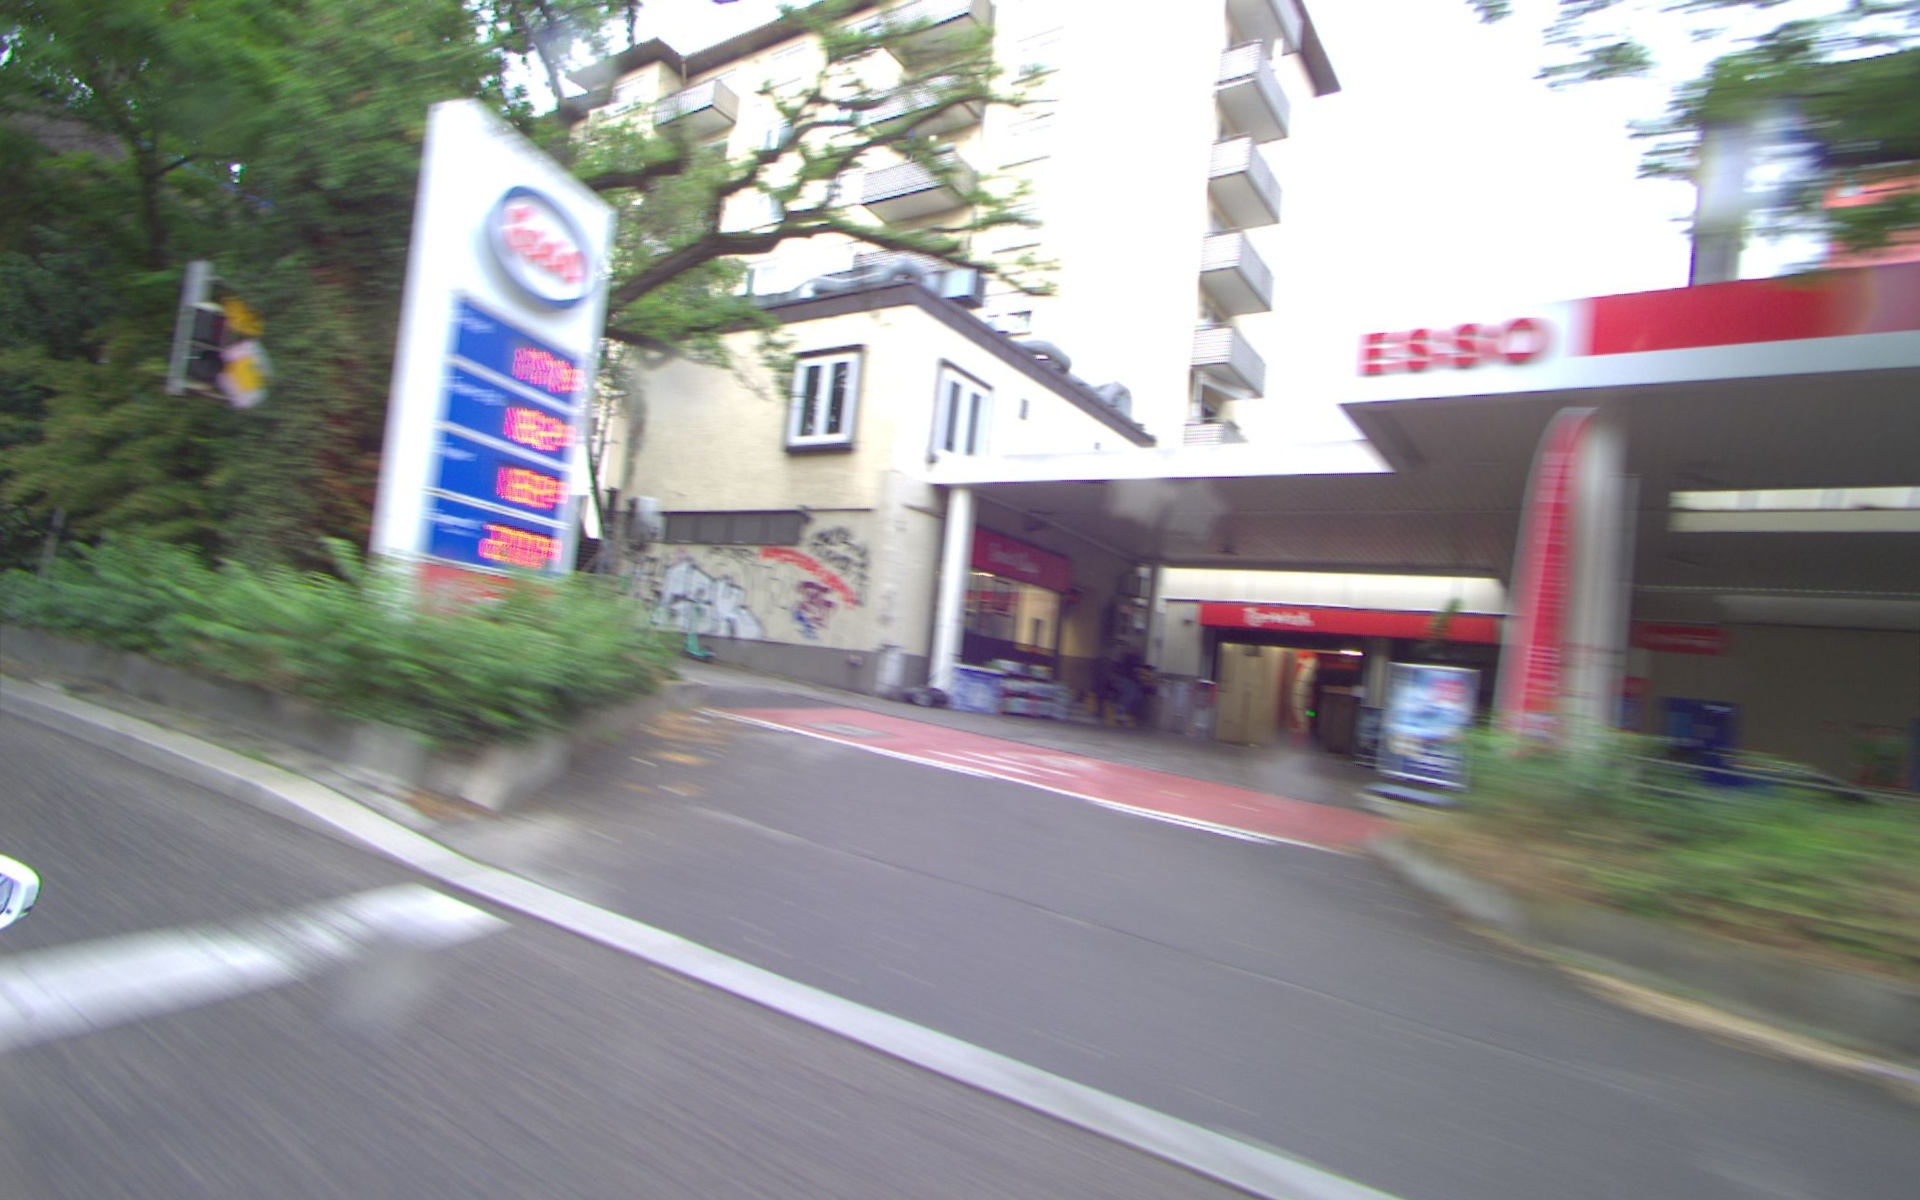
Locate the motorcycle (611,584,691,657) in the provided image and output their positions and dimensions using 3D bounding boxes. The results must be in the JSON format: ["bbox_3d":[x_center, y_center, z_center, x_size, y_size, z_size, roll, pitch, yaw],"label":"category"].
[{"bbox_3d":[-6.187,0.399,20.096,1.738,1.205,0.533,8,0,40],"label":"motorcycle"}]

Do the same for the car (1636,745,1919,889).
[{"bbox_3d":[13.144,3.402,15.732,4.166,1.525,1.799,5,-6,35],"label":"car"}]

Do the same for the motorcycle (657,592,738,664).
[{"bbox_3d":[-5.316,0.561,20.305,1.738,1.205,0.533,8,0,40],"label":"motorcycle"}]

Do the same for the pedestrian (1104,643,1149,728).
[{"bbox_3d":[3.922,2.010,23.714,0.661,1.888,0.688,9,-4,-3],"label":"pedestrian"}]
